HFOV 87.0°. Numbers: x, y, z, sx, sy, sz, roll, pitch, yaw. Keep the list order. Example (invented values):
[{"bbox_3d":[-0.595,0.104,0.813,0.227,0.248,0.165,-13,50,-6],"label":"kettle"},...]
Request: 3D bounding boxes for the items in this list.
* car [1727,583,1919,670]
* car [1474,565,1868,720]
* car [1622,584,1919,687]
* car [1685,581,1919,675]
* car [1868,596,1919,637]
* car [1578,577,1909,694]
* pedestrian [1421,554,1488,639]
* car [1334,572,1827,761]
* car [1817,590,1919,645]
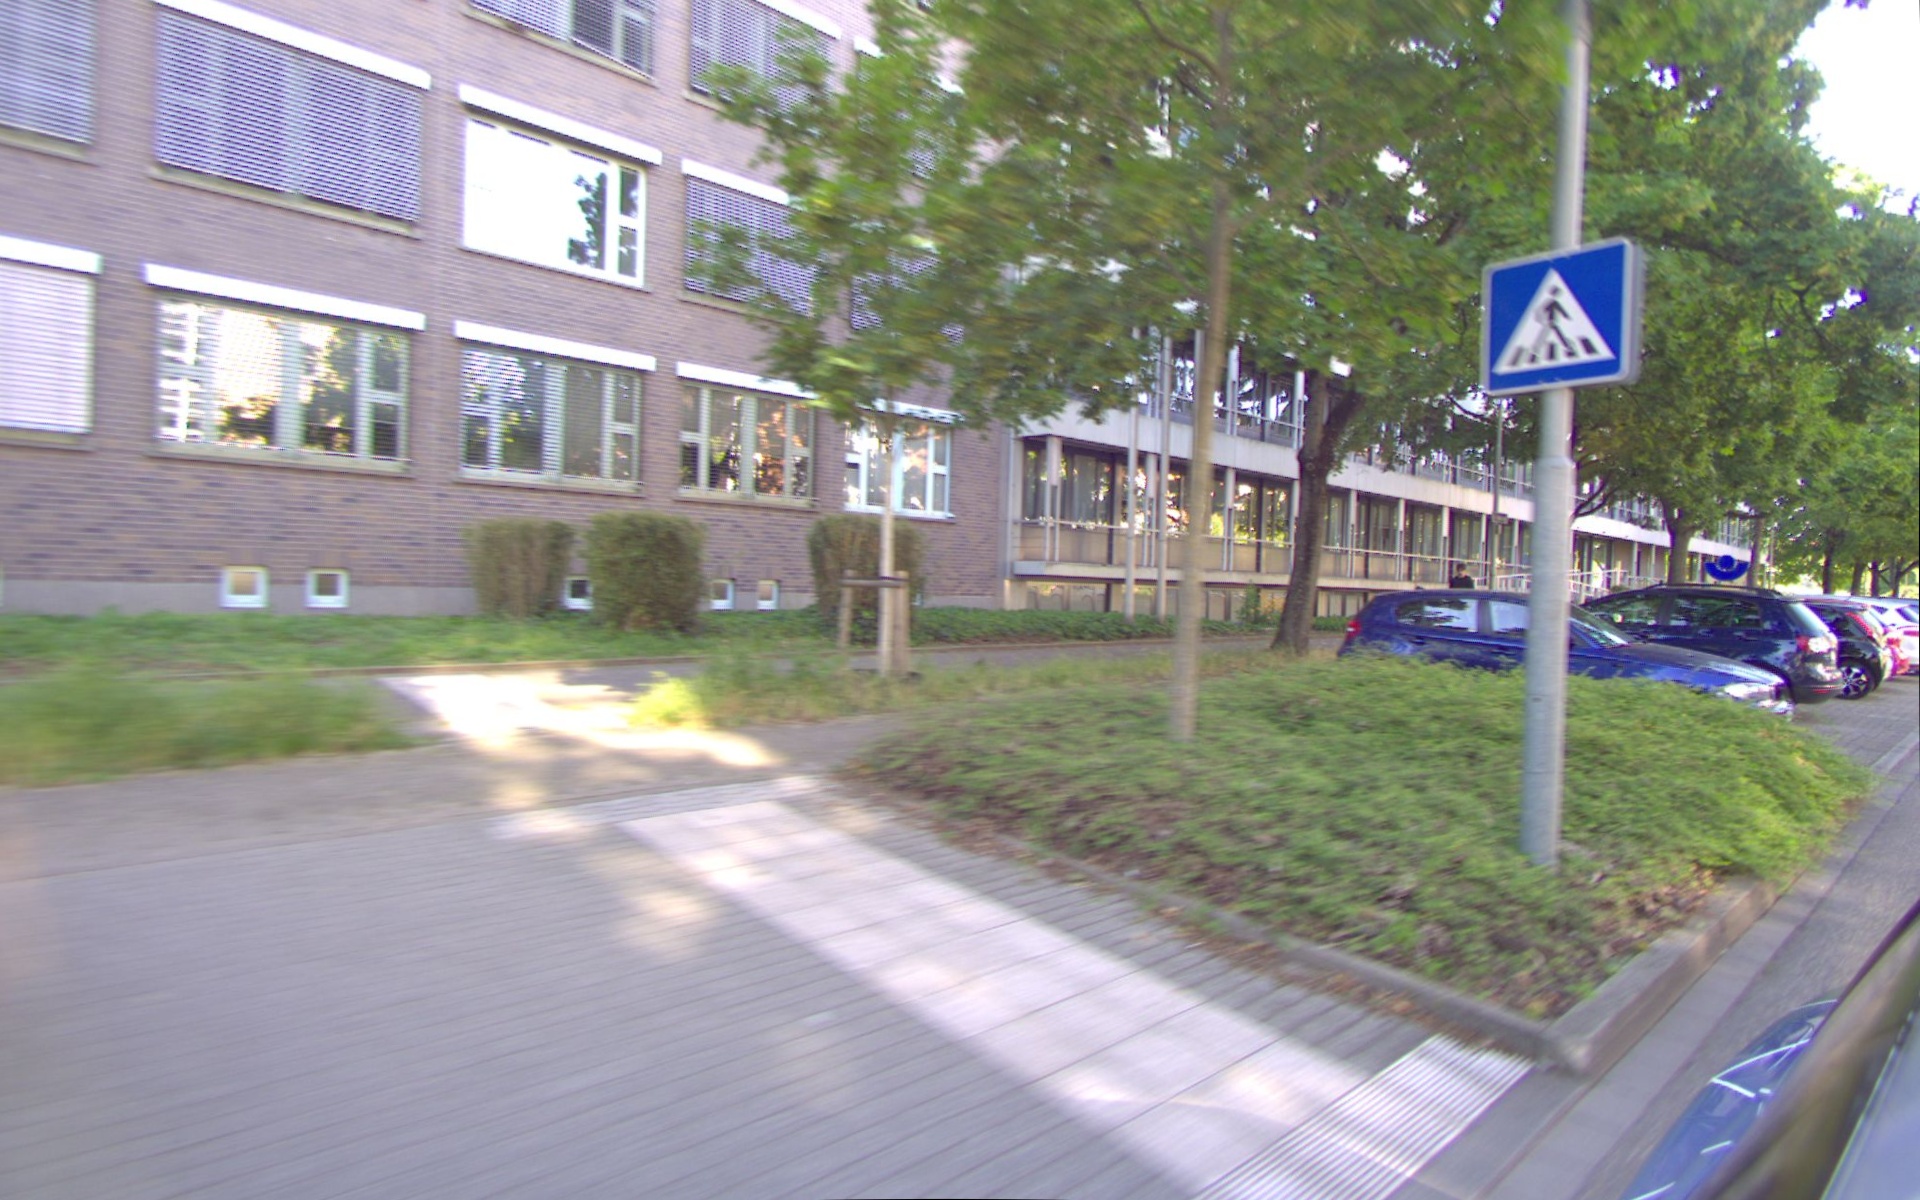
[{"bbox_3d":[19.777,0.556,22.475,4.127,1.687,1.877,3,2,45],"label":"car"},{"bbox_3d":[9.540,0.434,13.829,4.128,1.609,1.634,6,5,44],"label":"car"},{"bbox_3d":[14.648,0.552,18.343,4.127,1.536,1.807,3,2,45],"label":"car"},{"bbox_3d":[17.417,0.511,20.610,1.683,1.604,3.996,1,2,-40],"label":"car"},{"bbox_3d":[36.194,0.695,37.302,1.562,1.398,3.910,-1,5,-45],"label":"car"},{"bbox_3d":[12.878,0.488,16.828,4.128,1.478,1.634,6,4,44],"label":"car"},{"bbox_3d":[10.937,-0.077,22.393,1.001,1.821,1.036,1,0,-43],"label":"pedestrian"},{"bbox_3d":[6.324,0.534,10.681,1.628,1.387,4.120,1,4,-45],"label":"car"},{"bbox_3d":[29.997,0.594,32.069,1.682,1.512,4.000,1,4,-38],"label":"car"}]
